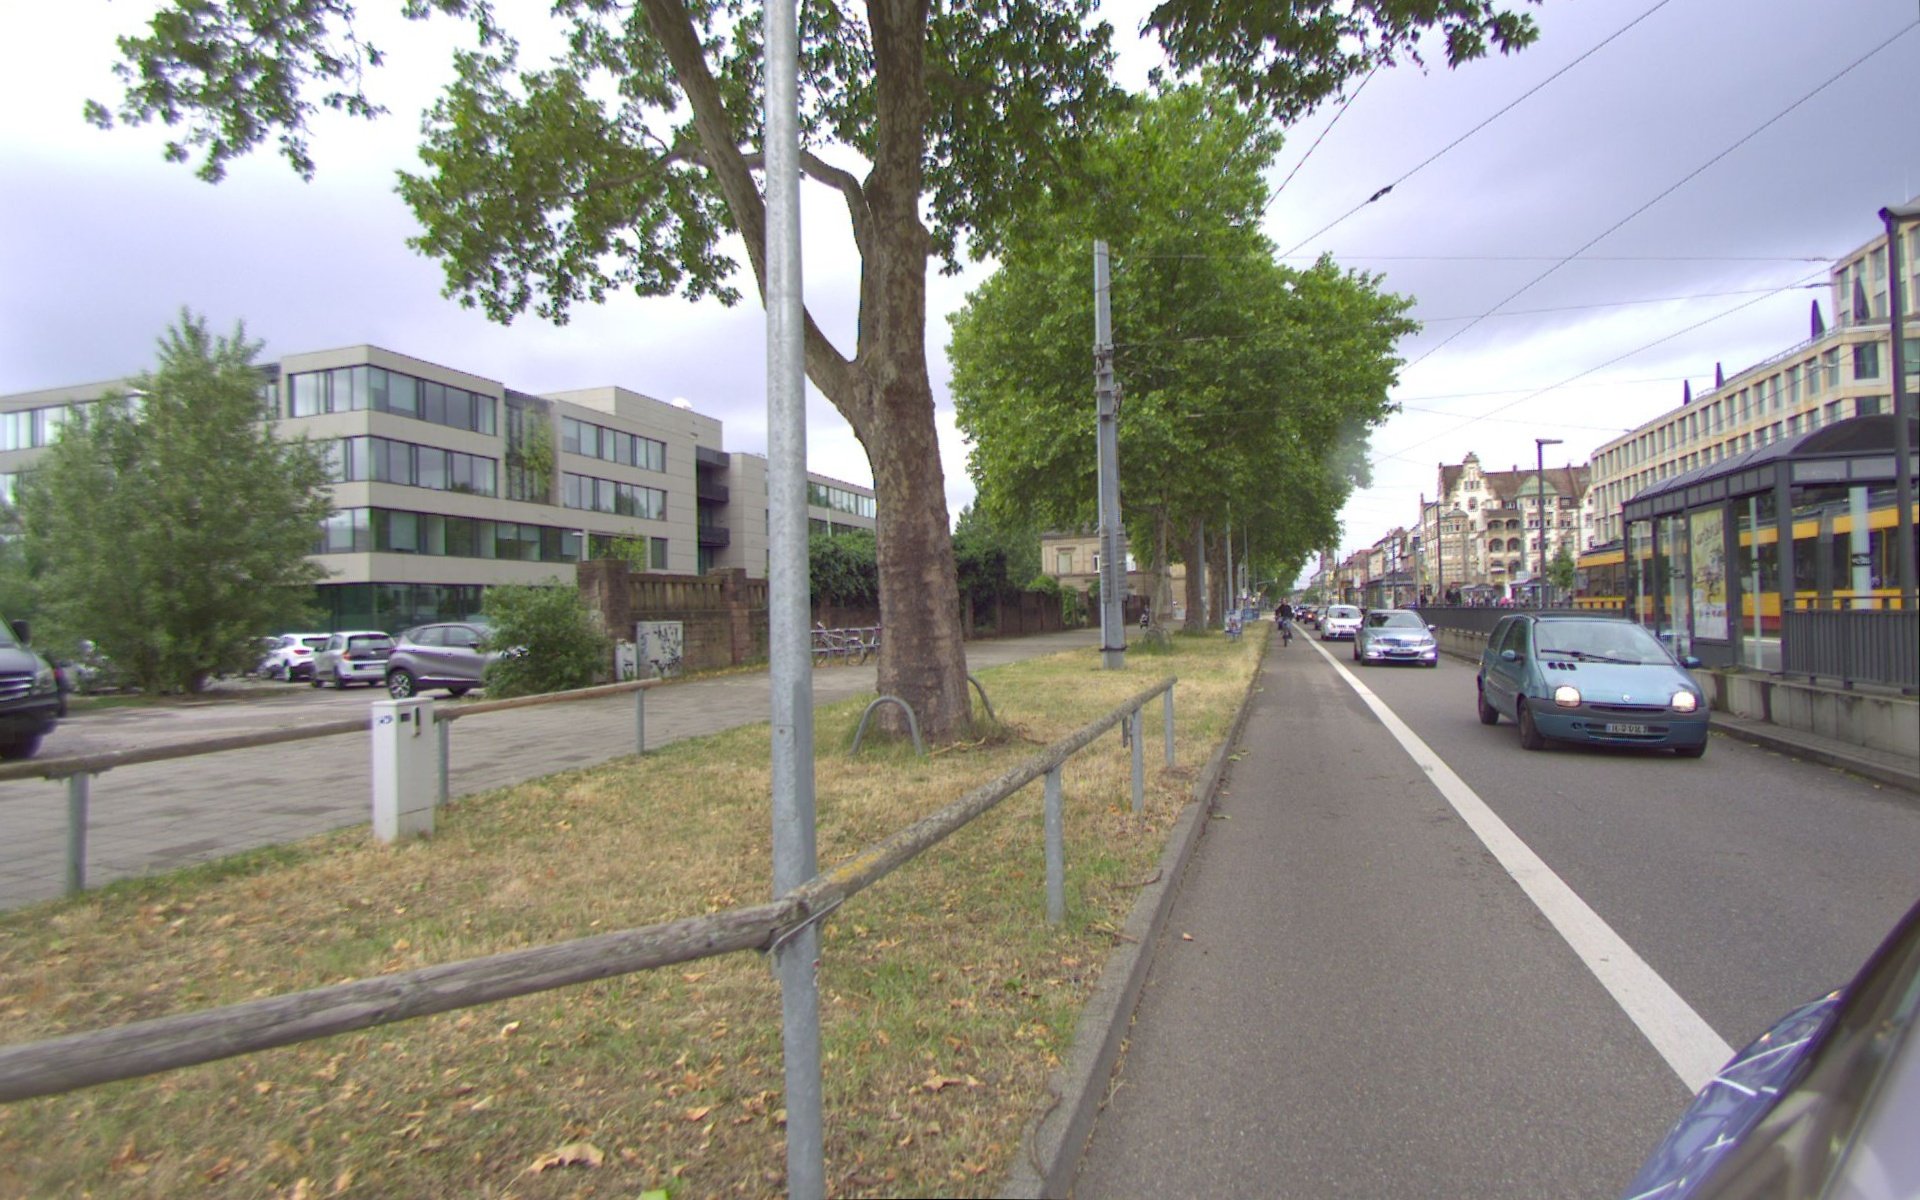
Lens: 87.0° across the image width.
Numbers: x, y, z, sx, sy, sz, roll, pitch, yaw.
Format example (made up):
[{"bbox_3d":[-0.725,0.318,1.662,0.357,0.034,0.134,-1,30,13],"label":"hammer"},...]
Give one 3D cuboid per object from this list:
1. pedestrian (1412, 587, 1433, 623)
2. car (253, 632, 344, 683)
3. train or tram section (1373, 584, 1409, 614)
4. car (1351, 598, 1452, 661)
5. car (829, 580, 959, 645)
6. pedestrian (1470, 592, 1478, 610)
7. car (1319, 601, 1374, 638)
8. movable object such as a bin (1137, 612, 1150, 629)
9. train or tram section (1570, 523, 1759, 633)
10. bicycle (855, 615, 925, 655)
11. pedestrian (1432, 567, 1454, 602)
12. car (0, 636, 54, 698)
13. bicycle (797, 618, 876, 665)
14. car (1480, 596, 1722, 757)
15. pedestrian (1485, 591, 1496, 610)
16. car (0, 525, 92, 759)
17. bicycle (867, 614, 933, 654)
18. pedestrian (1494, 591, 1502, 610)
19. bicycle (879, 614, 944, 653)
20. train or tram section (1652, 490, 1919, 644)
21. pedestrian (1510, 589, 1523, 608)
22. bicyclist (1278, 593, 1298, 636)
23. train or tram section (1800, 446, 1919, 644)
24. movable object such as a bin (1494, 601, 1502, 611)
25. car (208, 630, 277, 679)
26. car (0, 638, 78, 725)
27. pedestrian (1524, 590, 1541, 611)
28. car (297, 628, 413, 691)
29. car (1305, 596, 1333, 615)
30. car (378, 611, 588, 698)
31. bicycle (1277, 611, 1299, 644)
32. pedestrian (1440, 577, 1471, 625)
[{"bbox_3d":[23.975,0.242,52.452,0.661,1.816,1.110,-2,-1,9],"label":"pedestrian"},{"bbox_3d":[-23.046,1.953,35.207,1.967,1.572,3.989,-1,0,-44],"label":"car"},{"bbox_3d":[58.778,-0.190,138.246,2.824,3.739,13.449,-2,0,17],"label":"train or tram section"},{"bbox_3d":[11.388,0.725,26.360,1.973,1.470,4.076,-2,0,18],"label":"car"},{"bbox_3d":[-2.874,0.540,44.148,5.175,2.452,2.065,-4,-1,16],"label":"car"},{"bbox_3d":[49.795,0.100,98.008,0.591,1.792,0.583,-2,-1,25],"label":"pedestrian"},{"bbox_3d":[16.897,0.843,44.390,1.973,1.470,4.076,-2,0,18],"label":"car"},{"bbox_3d":[12.120,1.356,66.646,0.607,1.126,1.006,-2,-1,24],"label":"movable object such as a bin"},{"bbox_3d":[28.869,-0.824,42.260,3.205,3.911,11.245,-2,0,18],"label":"train or tram section"},{"bbox_3d":[-2.004,1.000,28.964,1.954,1.108,0.547,0,0,17],"label":"bicycle"},{"bbox_3d":[25.452,-0.808,53.373,0.660,1.816,1.111,-2,-1,5],"label":"pedestrian"},{"bbox_3d":[-25.774,1.761,26.888,3.980,1.538,1.972,-2,0,40],"label":"car"},{"bbox_3d":[-3.071,1.019,25.188,1.901,1.105,0.547,0,0,17],"label":"bicycle"},{"bbox_3d":[6.955,0.720,11.331,1.516,1.491,3.333,-1,0,19],"label":"car"},{"bbox_3d":[48.450,0.049,92.354,0.576,1.792,0.598,-1,-1,-19],"label":"pedestrian"},{"bbox_3d":[-13.251,0.632,11.902,5.732,2.555,2.156,-4,-2,21],"label":"car"},{"bbox_3d":[-1.756,0.987,29.550,1.880,1.111,0.547,0,0,17],"label":"bicycle"},{"bbox_3d":[45.470,0.051,85.514,0.531,1.627,0.560,-2,-1,25],"label":"pedestrian"},{"bbox_3d":[-1.431,0.992,30.118,1.870,1.119,0.547,0,0,17],"label":"bicycle"},{"bbox_3d":[25.384,-0.886,31.487,3.131,3.911,11.245,-2,0,18],"label":"train or tram section"},{"bbox_3d":[46.266,-0.121,84.148,0.567,1.627,0.658,-1,-1,-15],"label":"pedestrian"},{"bbox_3d":[12.234,0.533,37.799,0.634,1.550,0.661,-2,-1,16],"label":"bicyclist"},{"bbox_3d":[21.537,-1.196,19.606,3.148,4.232,13.541,-2,0,18],"label":"train or tram section"},{"bbox_3d":[45.688,0.513,85.978,0.531,0.757,0.465,-2,-1,25],"label":"movable object such as a bin"},{"bbox_3d":[-27.361,2.034,38.537,1.964,1.638,4.407,-1,0,-38],"label":"car"},{"bbox_3d":[-19.186,1.578,20.061,3.980,1.538,1.972,-2,0,40],"label":"car"},{"bbox_3d":[45.860,0.047,81.097,1.029,1.707,0.932,-2,-1,21],"label":"pedestrian"},{"bbox_3d":[-17.086,1.609,28.513,1.967,1.572,3.989,-1,0,-44],"label":"car"},{"bbox_3d":[29.815,0.472,84.109,1.973,1.470,4.076,-2,0,18],"label":"car"},{"bbox_3d":[-9.849,1.120,20.966,3.726,1.599,1.741,-2,-1,17],"label":"car"},{"bbox_3d":[12.223,1.009,37.736,0.645,1.164,2.271,-2,0,16],"label":"bicycle"},{"bbox_3d":[21.483,0.034,43.866,1.048,2.039,0.835,-2,-1,18],"label":"pedestrian"}]
